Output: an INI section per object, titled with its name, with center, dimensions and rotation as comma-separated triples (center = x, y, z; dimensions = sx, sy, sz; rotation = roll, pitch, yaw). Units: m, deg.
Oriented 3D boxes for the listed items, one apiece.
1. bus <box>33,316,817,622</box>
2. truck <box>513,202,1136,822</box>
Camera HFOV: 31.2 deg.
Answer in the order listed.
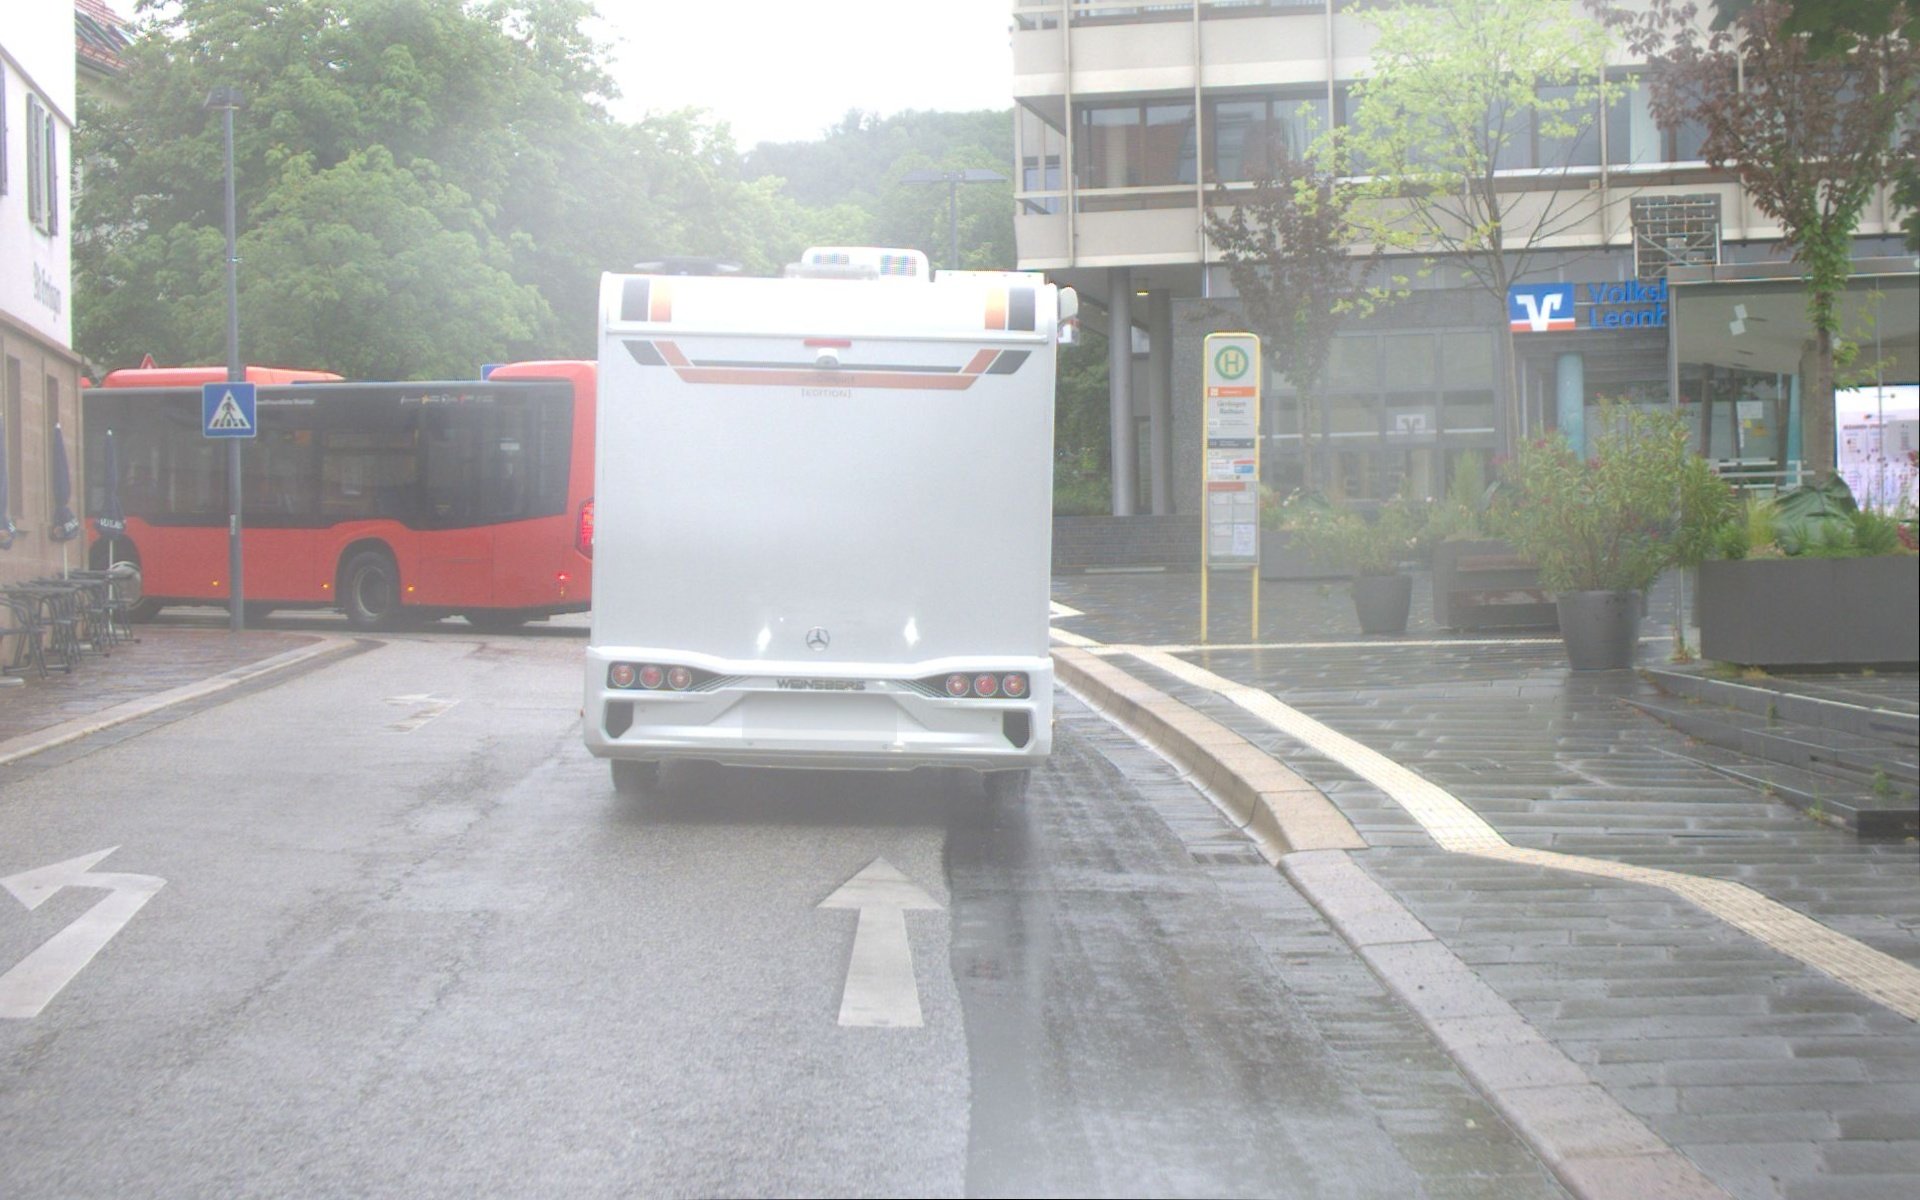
[bus]
center = -6.614, -1.437, 41.085
dimensions = 10.136, 3.135, 3.027
rotation = -1, 1, 38
[truck]
center = -0.748, -0.462, 19.068
dimensions = 2.805, 2.787, 6.108
rotation = -2, 1, -2
